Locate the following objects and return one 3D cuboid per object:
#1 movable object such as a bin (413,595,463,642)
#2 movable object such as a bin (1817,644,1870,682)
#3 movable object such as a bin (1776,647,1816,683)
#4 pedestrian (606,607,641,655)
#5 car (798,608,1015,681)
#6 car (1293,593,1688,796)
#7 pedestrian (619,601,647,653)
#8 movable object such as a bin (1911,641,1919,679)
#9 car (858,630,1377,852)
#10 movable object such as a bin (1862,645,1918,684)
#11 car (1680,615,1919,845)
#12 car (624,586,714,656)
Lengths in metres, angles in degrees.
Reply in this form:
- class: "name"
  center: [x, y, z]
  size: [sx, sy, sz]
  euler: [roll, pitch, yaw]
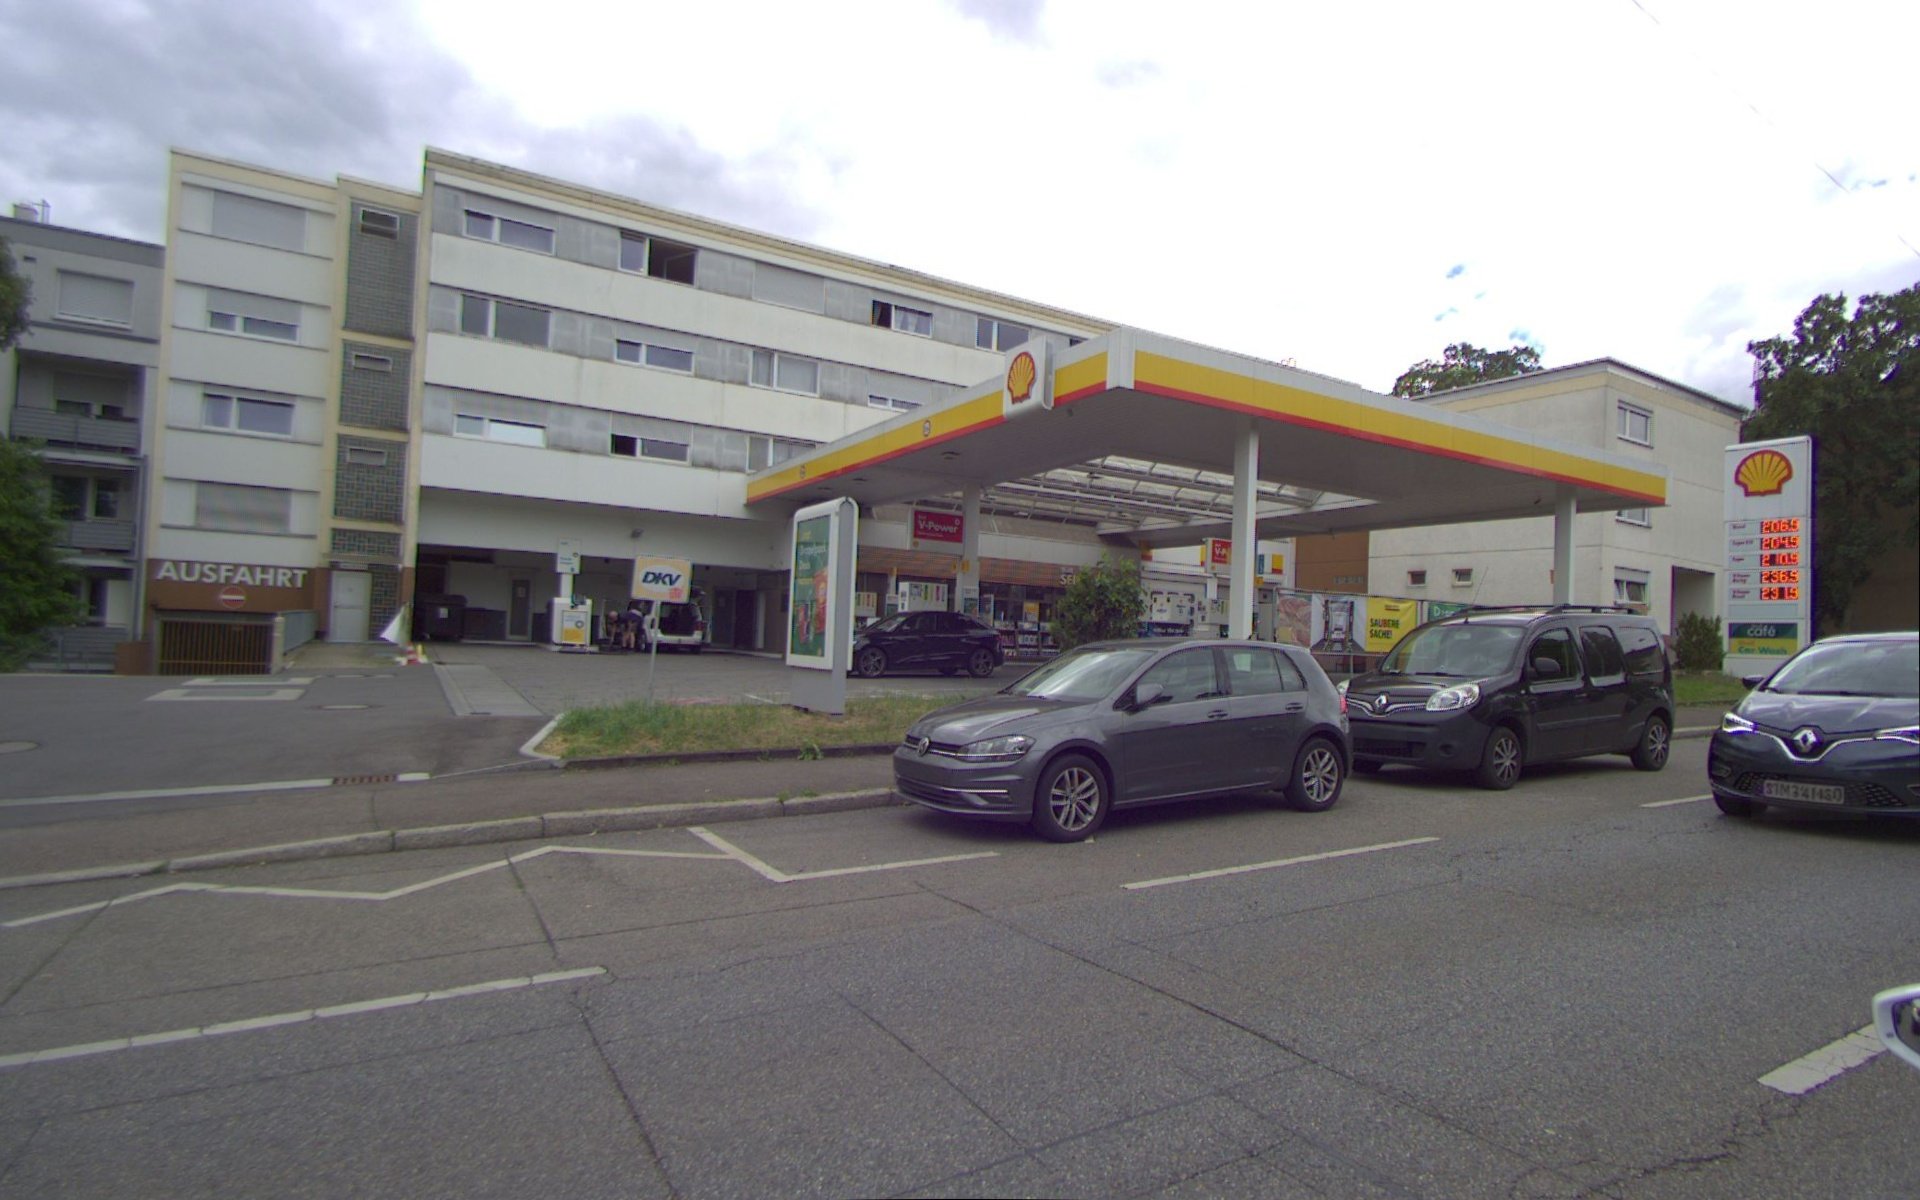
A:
- class: "movable object such as a bin"
  center: [-15.854, 0.568, 30.480]
  size: [1.230, 1.391, 1.144]
  euler: [2, -1, -32]
- class: "movable object such as a bin"
  center: [35.360, 2.506, 40.212]
  size: [0.903, 1.447, 1.385]
  euler: [1, -1, -32]
- class: "movable object such as a bin"
  center: [34.445, 2.665, 41.385]
  size: [1.382, 1.447, 0.905]
  euler: [1, -1, -32]
- class: "pedestrian"
  center: [-9.586, 0.875, 28.614]
  size: [0.792, 1.332, 0.659]
  euler: [1, 0, -32]
- class: "car"
  center: [-1.119, 0.931, 21.744]
  size: [4.365, 1.439, 1.789]
  euler: [1, -1, -30]
- class: "car"
  center: [6.037, 0.953, 11.271]
  size: [4.650, 1.859, 1.842]
  euler: [2, -3, -32]
- class: "pedestrian"
  center: [-9.782, 0.795, 30.067]
  size: [0.656, 1.537, 0.795]
  euler: [1, 0, -27]
- class: "movable object such as a bin"
  center: [36.847, 2.281, 37.773]
  size: [0.903, 1.447, 1.385]
  euler: [1, -1, -32]
- class: "car"
  center: [1.400, 1.010, 8.491]
  size: [4.169, 1.469, 1.782]
  euler: [1, -3, -30]
- class: "movable object such as a bin"
  center: [36.104, 2.484, 38.999]
  size: [0.903, 1.447, 1.385]
  euler: [1, -1, -32]
- class: "car"
  center: [7.847, 0.956, 8.392]
  size: [3.677, 1.576, 1.674]
  euler: [2, -3, -31]
- class: "car"
  center: [-9.044, 0.636, 31.017]
  size: [1.814, 1.989, 3.877]
  euler: [2, -1, -29]
